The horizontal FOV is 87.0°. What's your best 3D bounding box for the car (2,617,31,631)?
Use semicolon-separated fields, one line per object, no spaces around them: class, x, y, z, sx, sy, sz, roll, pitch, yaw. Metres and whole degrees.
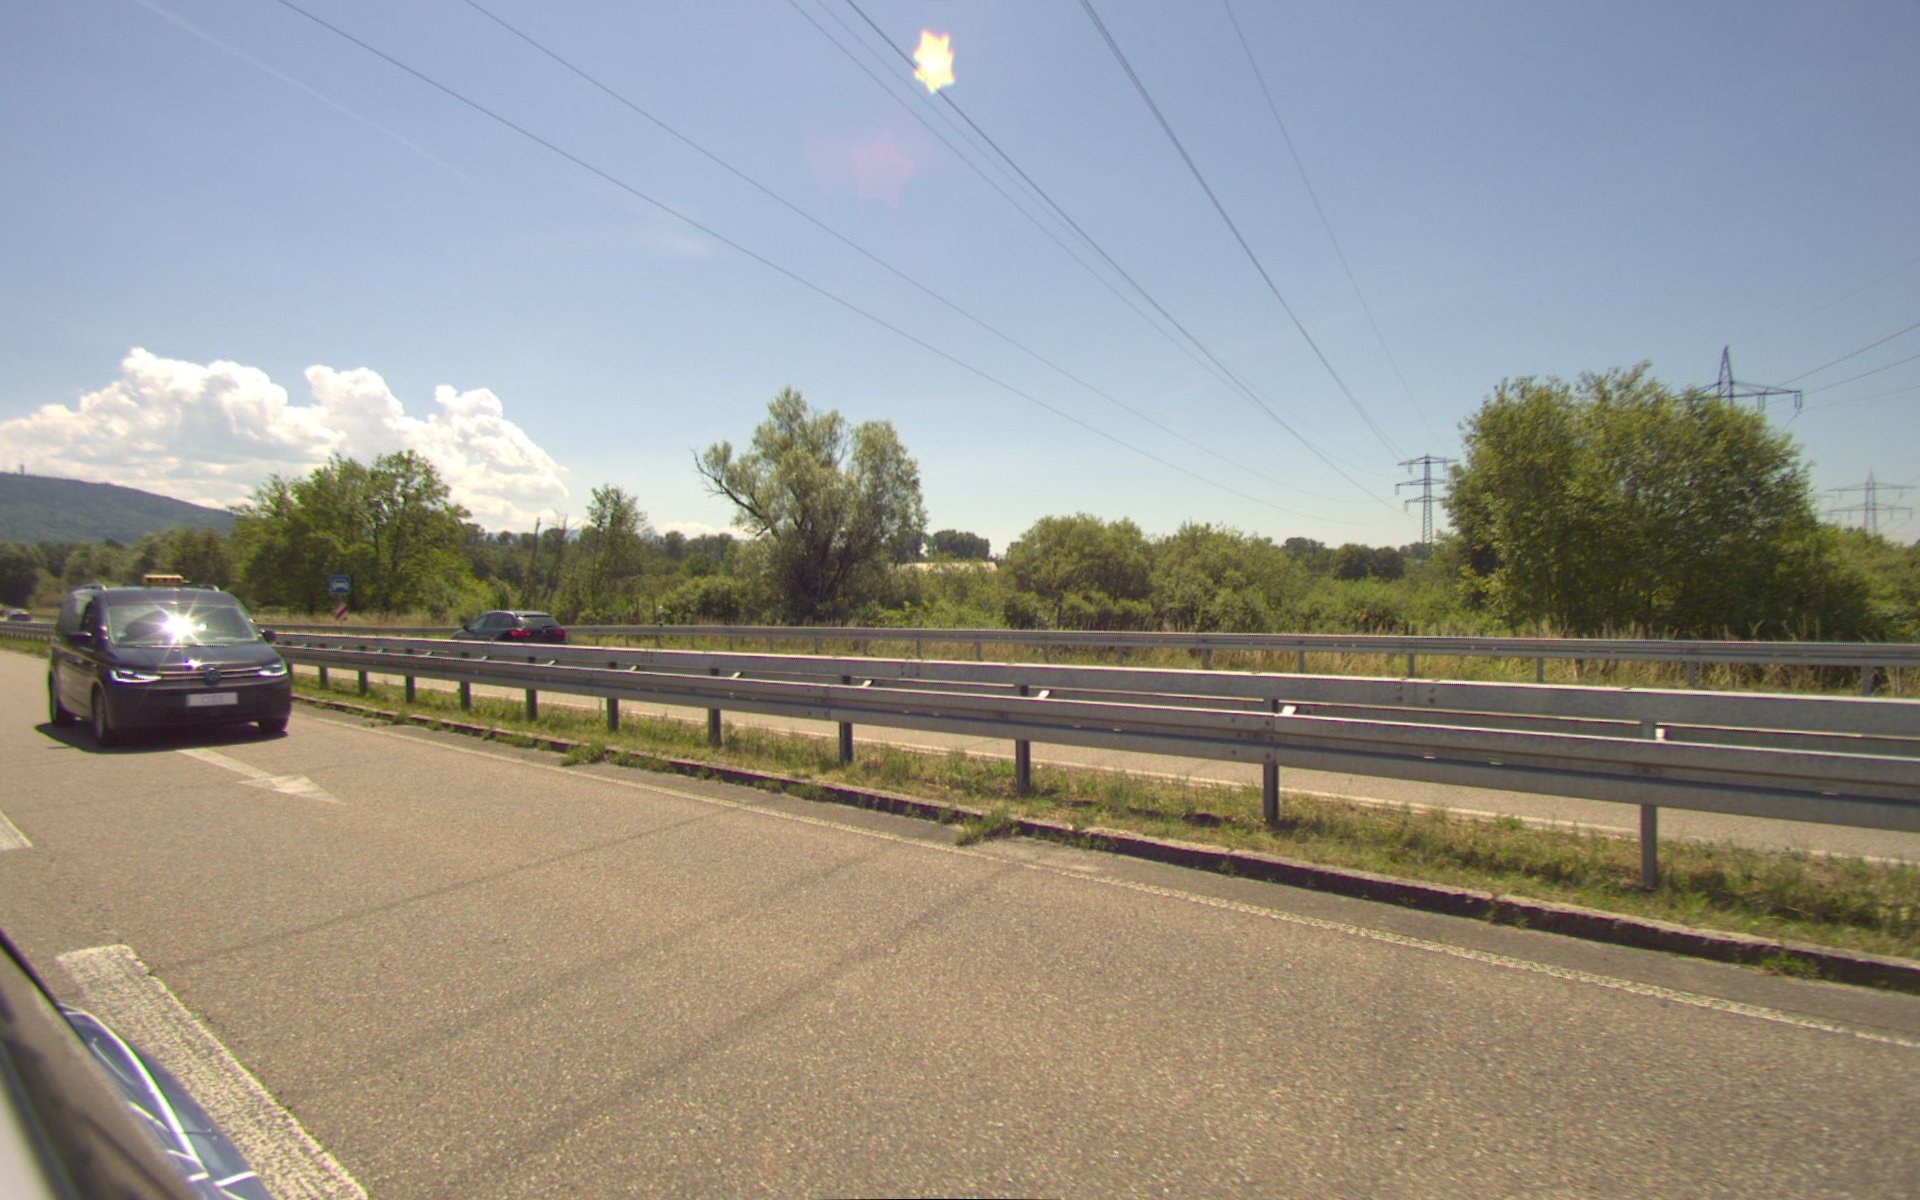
car;-99.278;2.523;106.444;4.657;1.395;1.903;-1;-1;43

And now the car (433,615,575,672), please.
car;-12.646;1.153;27.919;4.679;1.423;1.825;-1;-1;41

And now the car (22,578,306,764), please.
car;-10.291;0.768;12.886;5.570;1.901;1.835;-1;-1;41
